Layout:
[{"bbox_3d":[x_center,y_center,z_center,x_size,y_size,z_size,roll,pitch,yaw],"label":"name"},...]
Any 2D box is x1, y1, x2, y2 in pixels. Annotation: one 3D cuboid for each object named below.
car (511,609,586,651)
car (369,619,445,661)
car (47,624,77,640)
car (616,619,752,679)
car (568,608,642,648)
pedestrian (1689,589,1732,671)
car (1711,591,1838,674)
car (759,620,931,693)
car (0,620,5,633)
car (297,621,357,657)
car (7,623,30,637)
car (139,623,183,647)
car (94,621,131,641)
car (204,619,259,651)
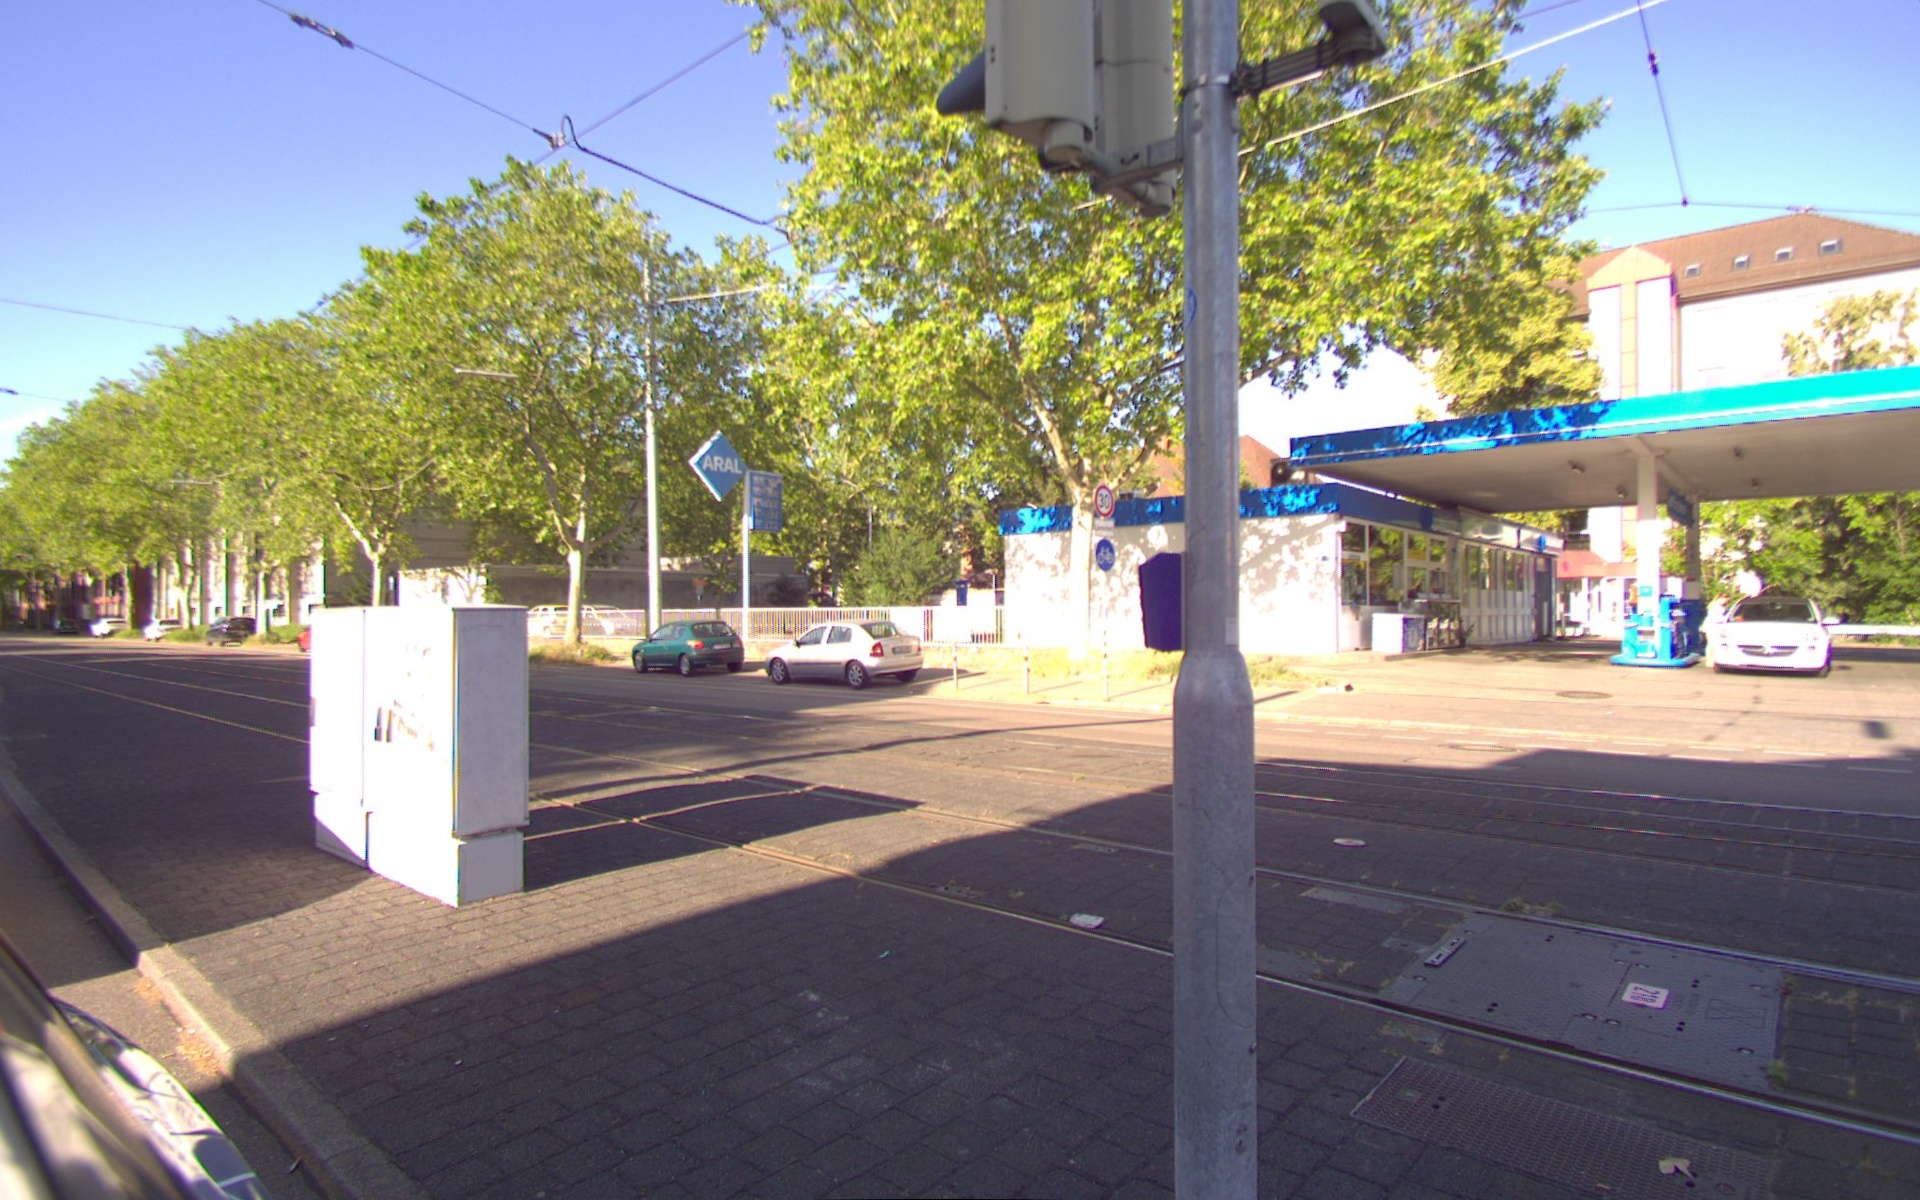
[{"bbox_3d":[-17.079,1.227,41.964,3.303,1.628,1.579,-1,0,41],"label":"car"},{"bbox_3d":[-21.871,1.554,39.996,3.303,1.519,1.579,-1,1,41],"label":"car"},{"bbox_3d":[-85.234,3.025,96.038,3.748,1.459,1.674,-1,1,41],"label":"car"},{"bbox_3d":[-7.395,1.263,26.965,3.748,1.413,1.674,-1,1,41],"label":"car"},{"bbox_3d":[-15.260,1.192,43.441,3.303,1.604,1.579,-1,0,41],"label":"car"},{"bbox_3d":[16.022,0.638,21.610,0.493,1.714,0.649,1,-2,-45],"label":"pedestrian"},{"bbox_3d":[15.891,0.608,19.690,1.757,1.453,3.521,-1,-1,41],"label":"car"},{"bbox_3d":[-2.631,1.202,22.637,3.812,1.413,1.674,-1,1,41],"label":"car"},{"bbox_3d":[-133.925,3.672,140.466,3.748,1.798,1.674,-1,1,41],"label":"car"},{"bbox_3d":[-28.681,1.752,45.824,2.621,1.519,1.579,-1,1,41],"label":"car"},{"bbox_3d":[-112.133,3.557,120.499,3.748,1.459,1.674,-1,1,41],"label":"car"},{"bbox_3d":[-53.856,2.338,68.173,3.748,1.459,1.674,-1,1,41],"label":"car"},{"bbox_3d":[-66.673,2.442,79.600,3.748,1.459,1.674,-1,1,41],"label":"car"},{"bbox_3d":[-40.671,1.936,56.447,3.748,1.670,1.674,-1,1,41],"label":"car"}]
